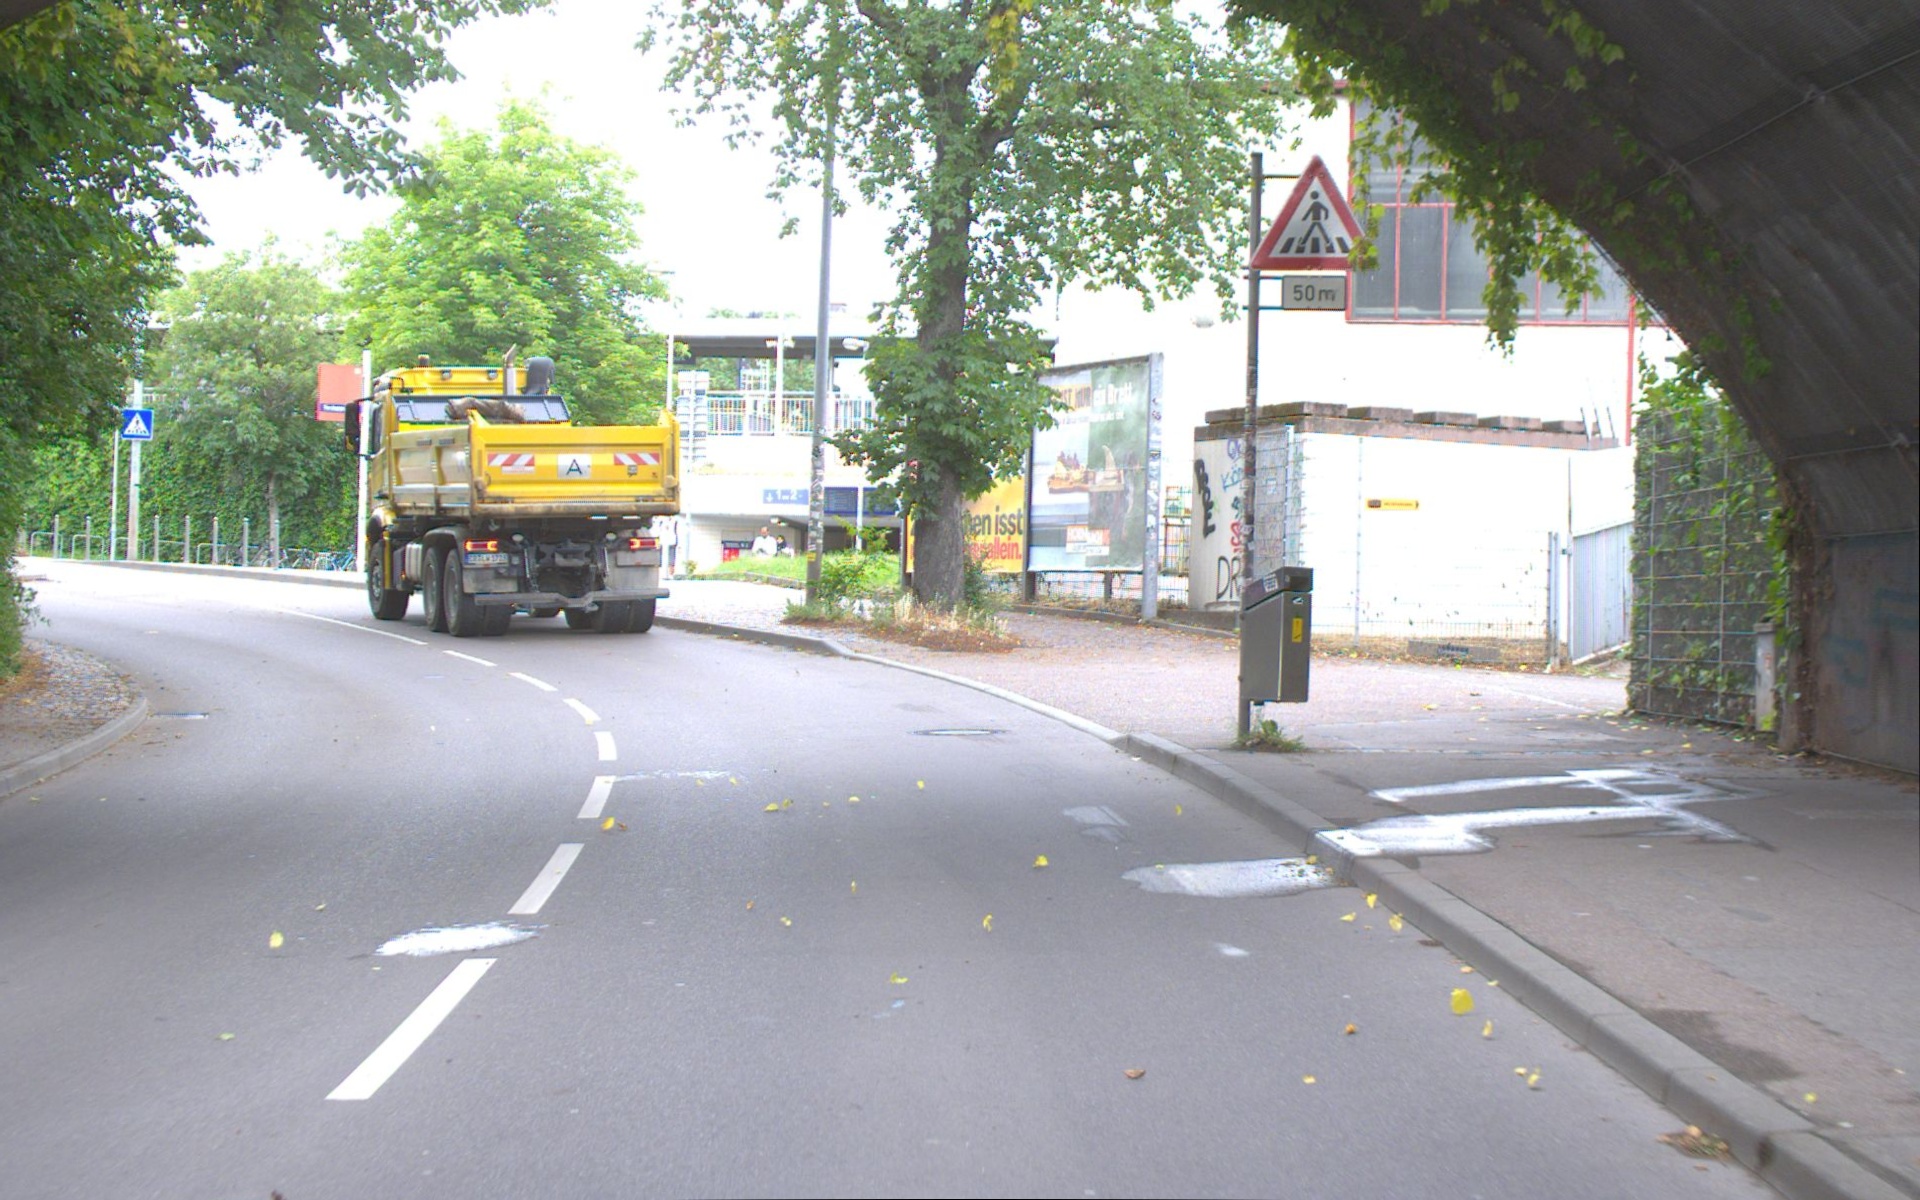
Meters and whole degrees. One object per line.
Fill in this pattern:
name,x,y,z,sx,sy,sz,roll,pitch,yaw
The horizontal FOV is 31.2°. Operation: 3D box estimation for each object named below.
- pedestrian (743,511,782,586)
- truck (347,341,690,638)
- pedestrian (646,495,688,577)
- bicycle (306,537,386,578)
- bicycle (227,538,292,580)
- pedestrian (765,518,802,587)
pedestrian,-4.565,-1.187,79.547,0.814,1.697,0.749,1,-1,0
truck,-5.885,-1.534,44.543,2.764,3.471,8.132,-1,3,-19
pedestrian,-6.123,-1.327,71.778,0.848,1.678,0.940,0,-1,-4
bicycle,-15.762,-1.088,88.235,1.966,0.862,0.511,6,-1,-39
bicycle,-18.057,-1.053,88.661,1.487,0.986,0.694,4,0,-22
pedestrian,-4.164,-1.117,81.176,0.799,1.578,0.802,1,-1,0
